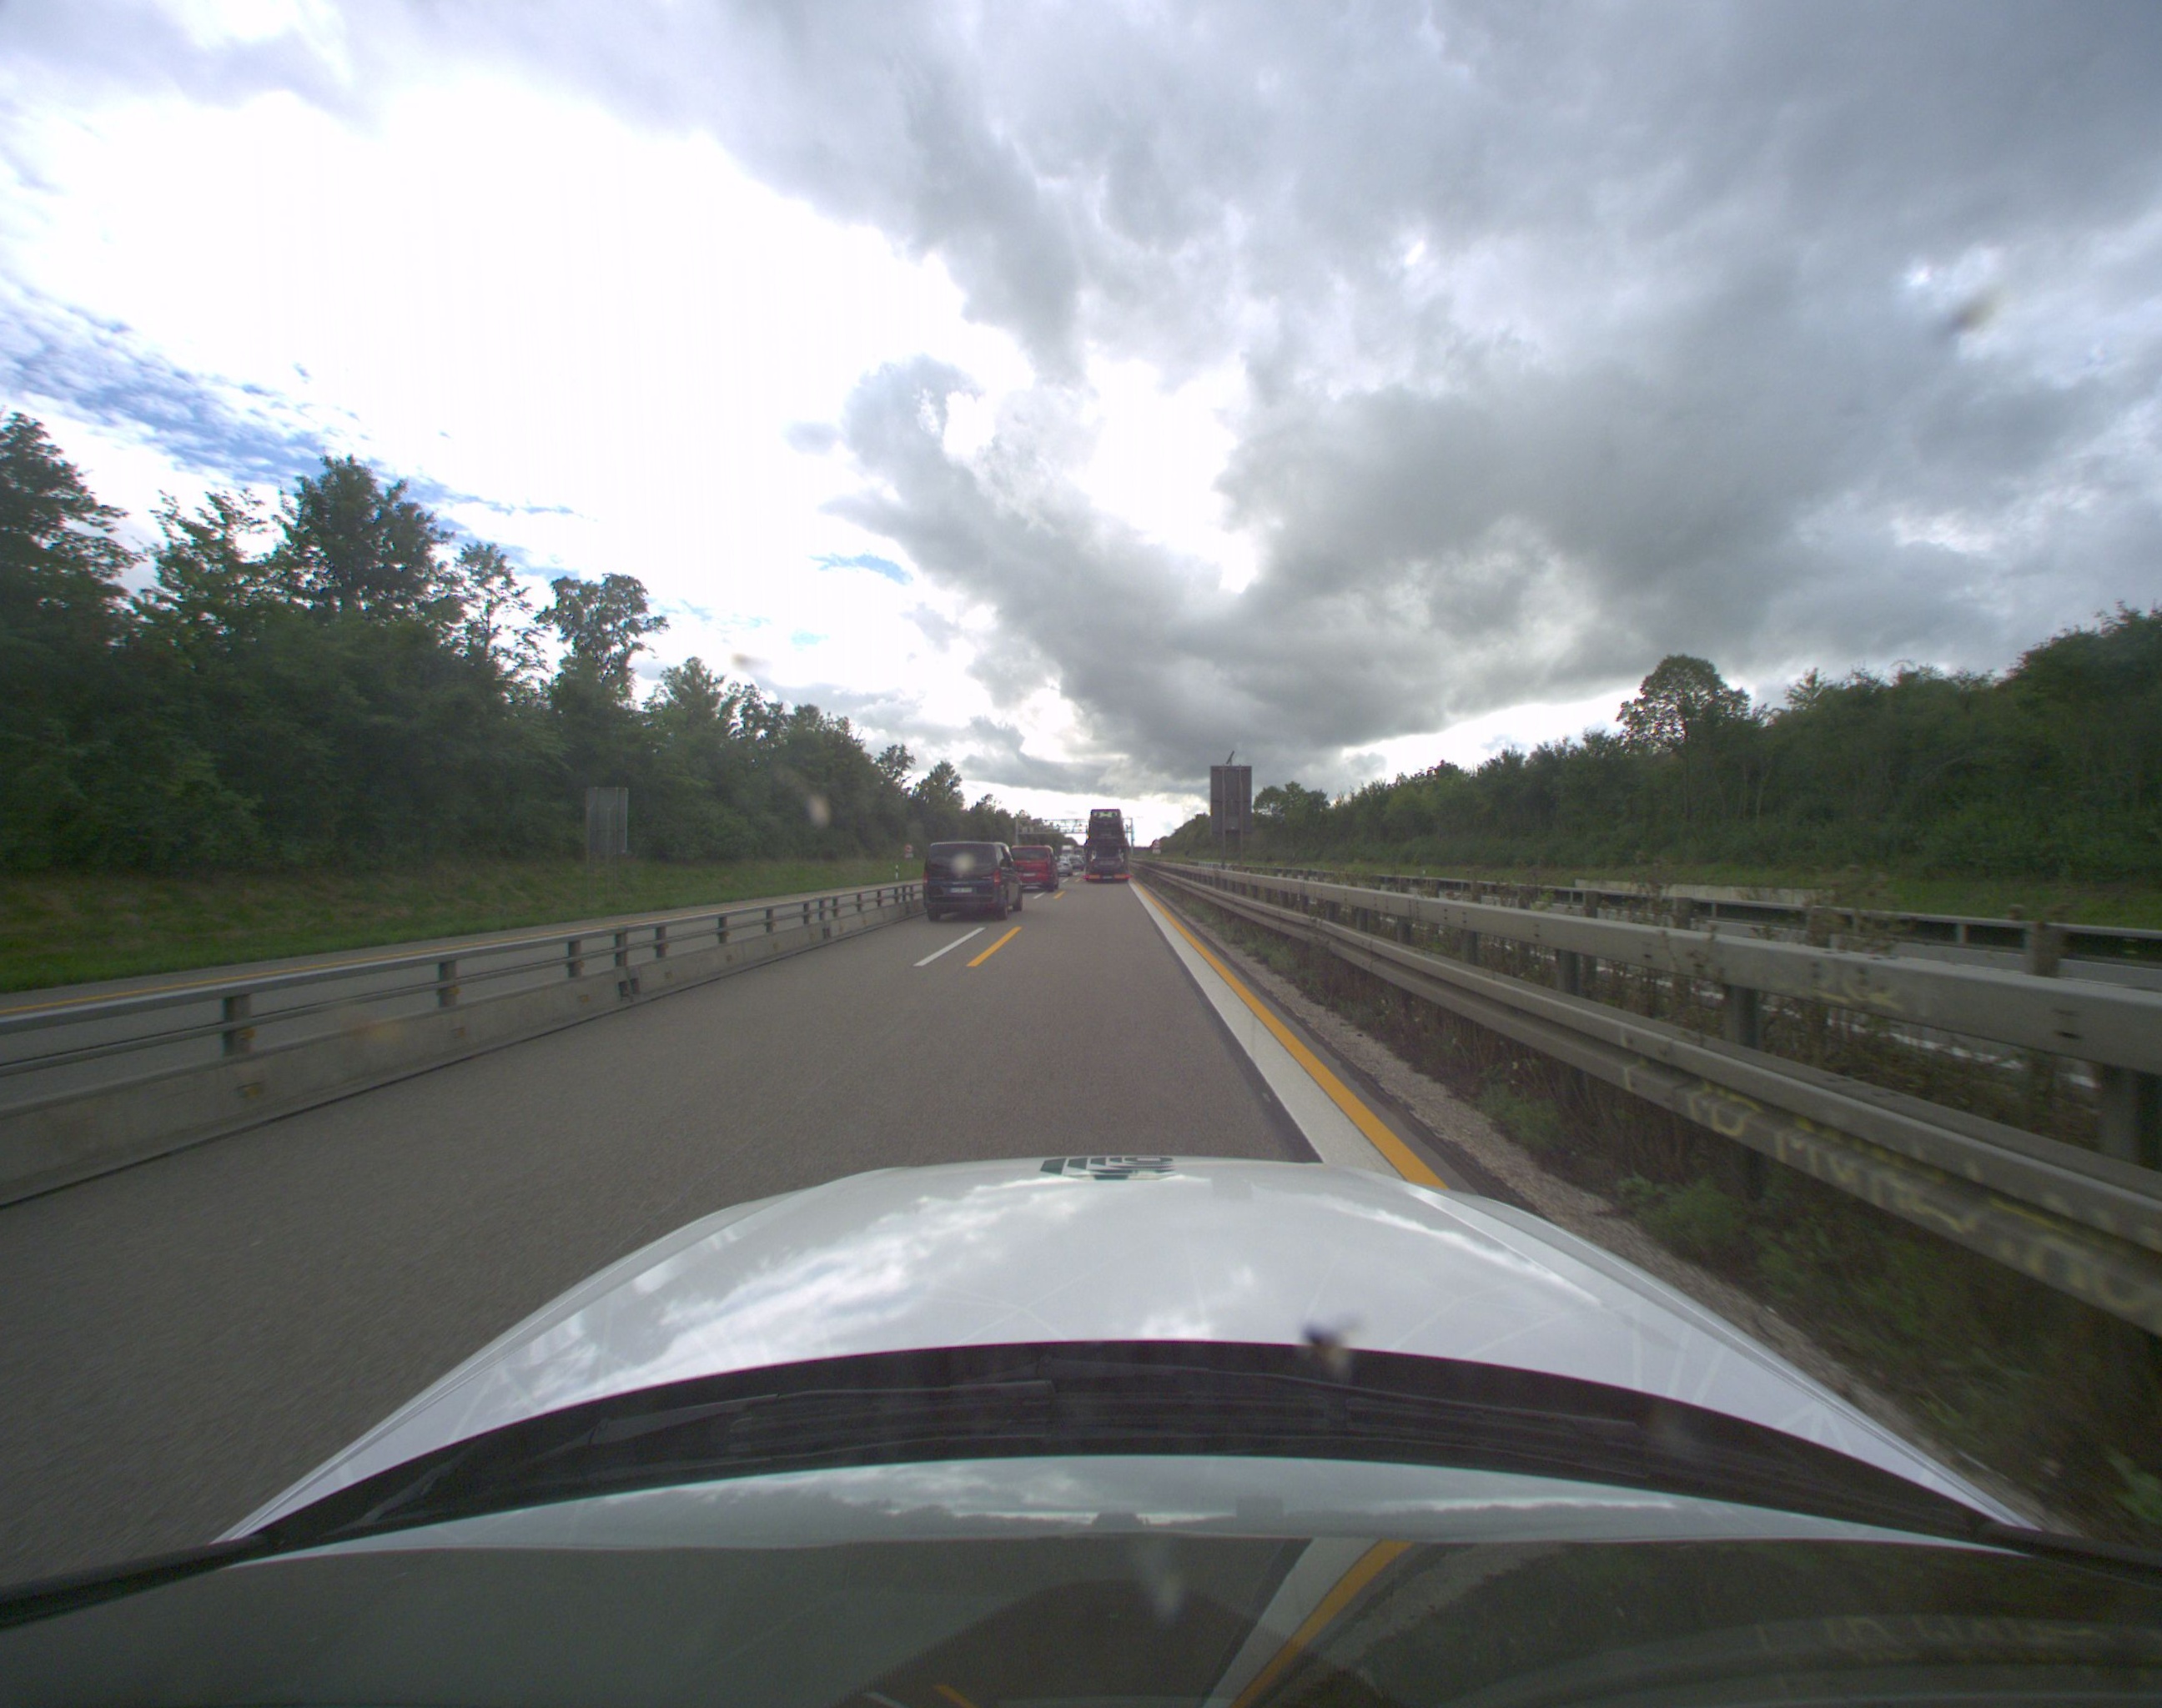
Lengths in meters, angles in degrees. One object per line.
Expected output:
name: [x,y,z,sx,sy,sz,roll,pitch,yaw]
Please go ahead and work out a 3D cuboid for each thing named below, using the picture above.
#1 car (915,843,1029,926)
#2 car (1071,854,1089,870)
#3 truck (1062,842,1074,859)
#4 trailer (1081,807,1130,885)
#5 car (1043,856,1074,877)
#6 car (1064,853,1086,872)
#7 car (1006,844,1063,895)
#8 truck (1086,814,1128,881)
car: [-2.638,0.692,21.211,1.986,1.843,5.612,-1,0,2]
car: [-0.044,0.912,96.612,2.024,1.757,4.578,-1,0,1]
truck: [-3.195,-0.877,204.004,2.589,4.154,5.622,0,0,2]
trailer: [1.536,-0.419,48.420,2.505,4.105,11.120,-1,0,3]
car: [-1.648,0.894,61.045,2.024,1.430,4.579,-1,0,1]
car: [-0.561,0.800,80.926,2.024,1.757,4.579,-1,0,1]
car: [-1.952,0.641,35.688,2.023,2.013,4.580,-1,0,2]
truck: [1.743,-0.410,53.164,2.505,4.105,5.688,-1,0,2]
